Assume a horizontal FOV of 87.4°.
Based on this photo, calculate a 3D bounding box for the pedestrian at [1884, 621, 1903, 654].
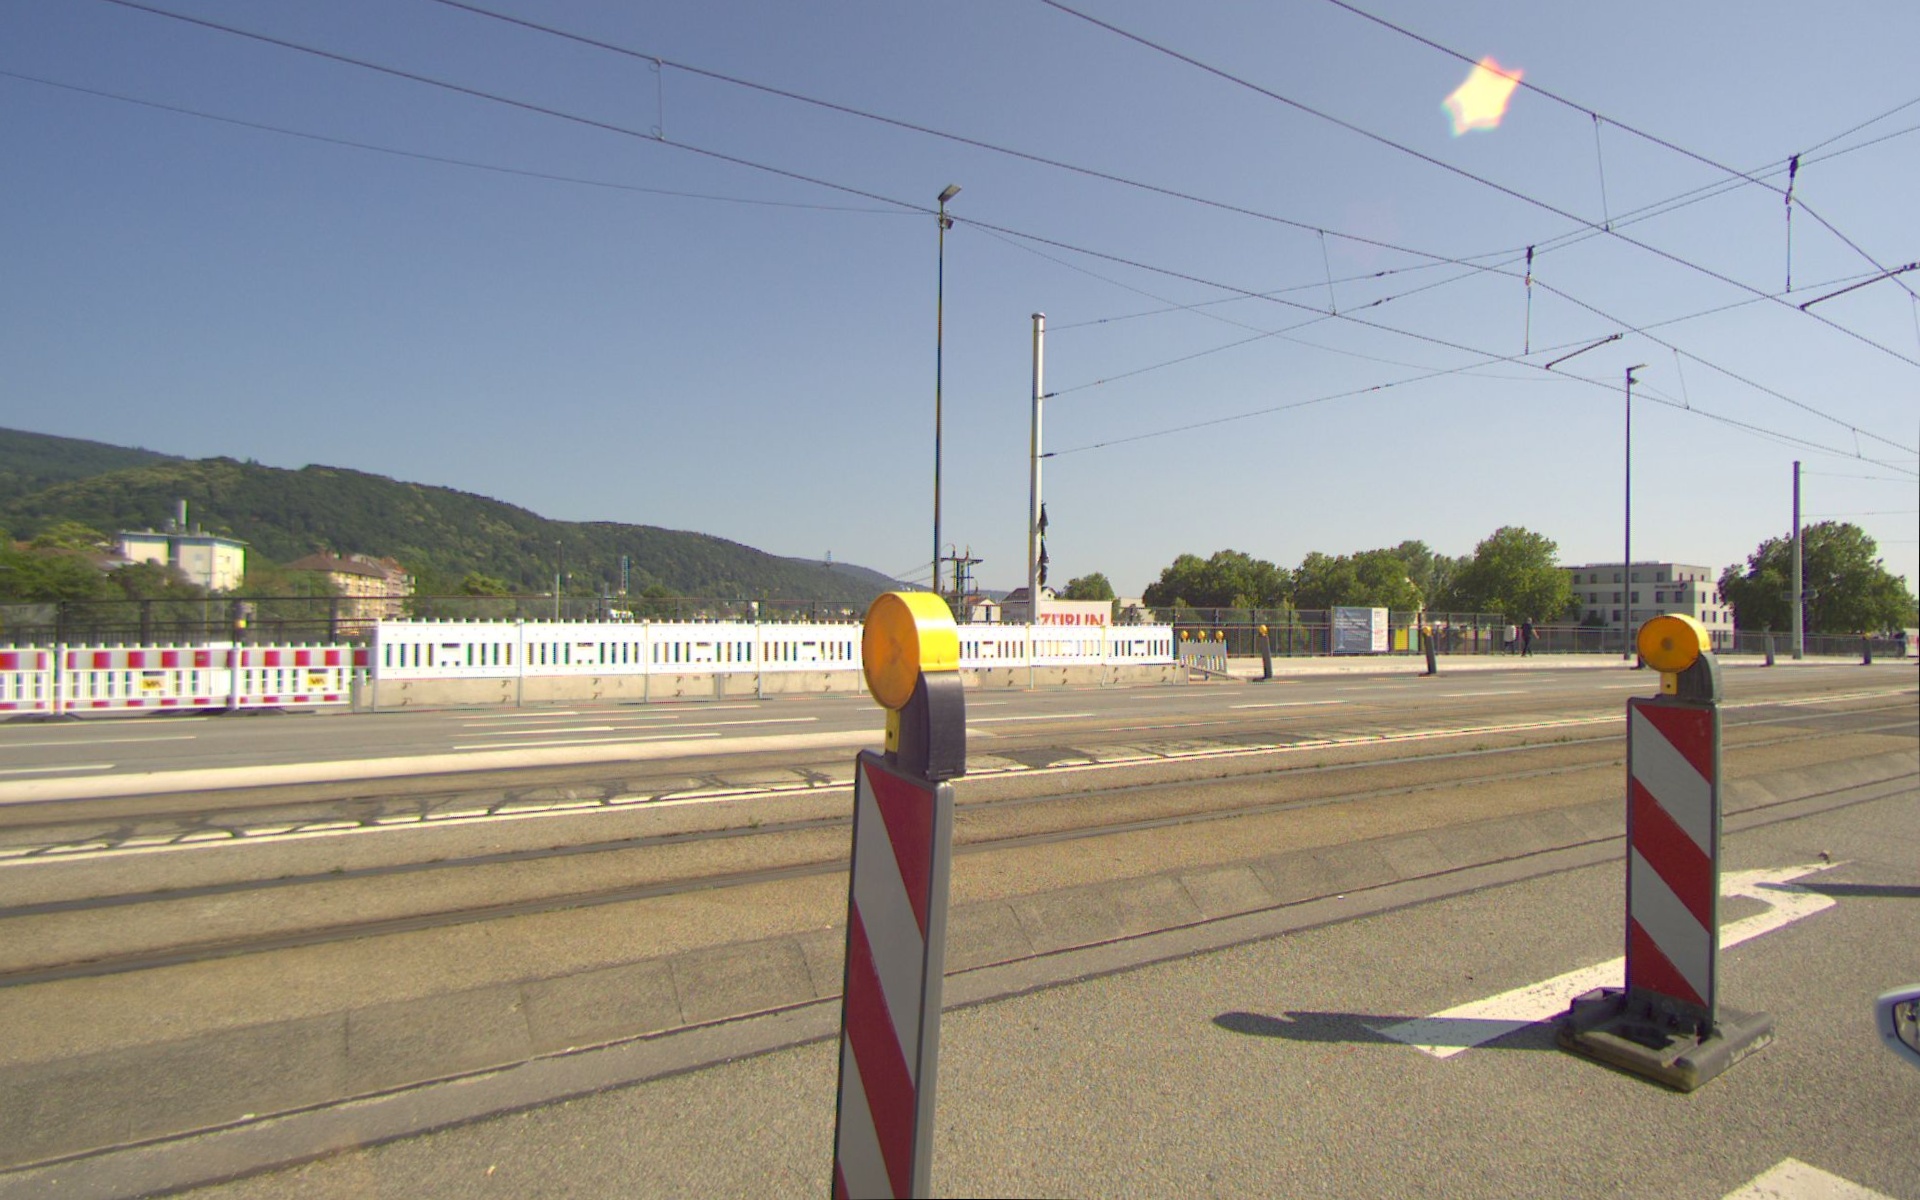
[{"bbox_3d":[55.279,2.234,59.470,0.743,1.919,0.631,1,0,-30],"label":"pedestrian"}]

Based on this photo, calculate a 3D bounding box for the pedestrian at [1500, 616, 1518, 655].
[{"bbox_3d":[24.353,1.577,44.589,0.468,1.717,0.493,2,0,-30],"label":"pedestrian"}]

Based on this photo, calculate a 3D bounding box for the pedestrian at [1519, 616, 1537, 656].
[{"bbox_3d":[24.750,1.579,43.793,0.468,1.717,0.493,2,0,-30],"label":"pedestrian"}]
